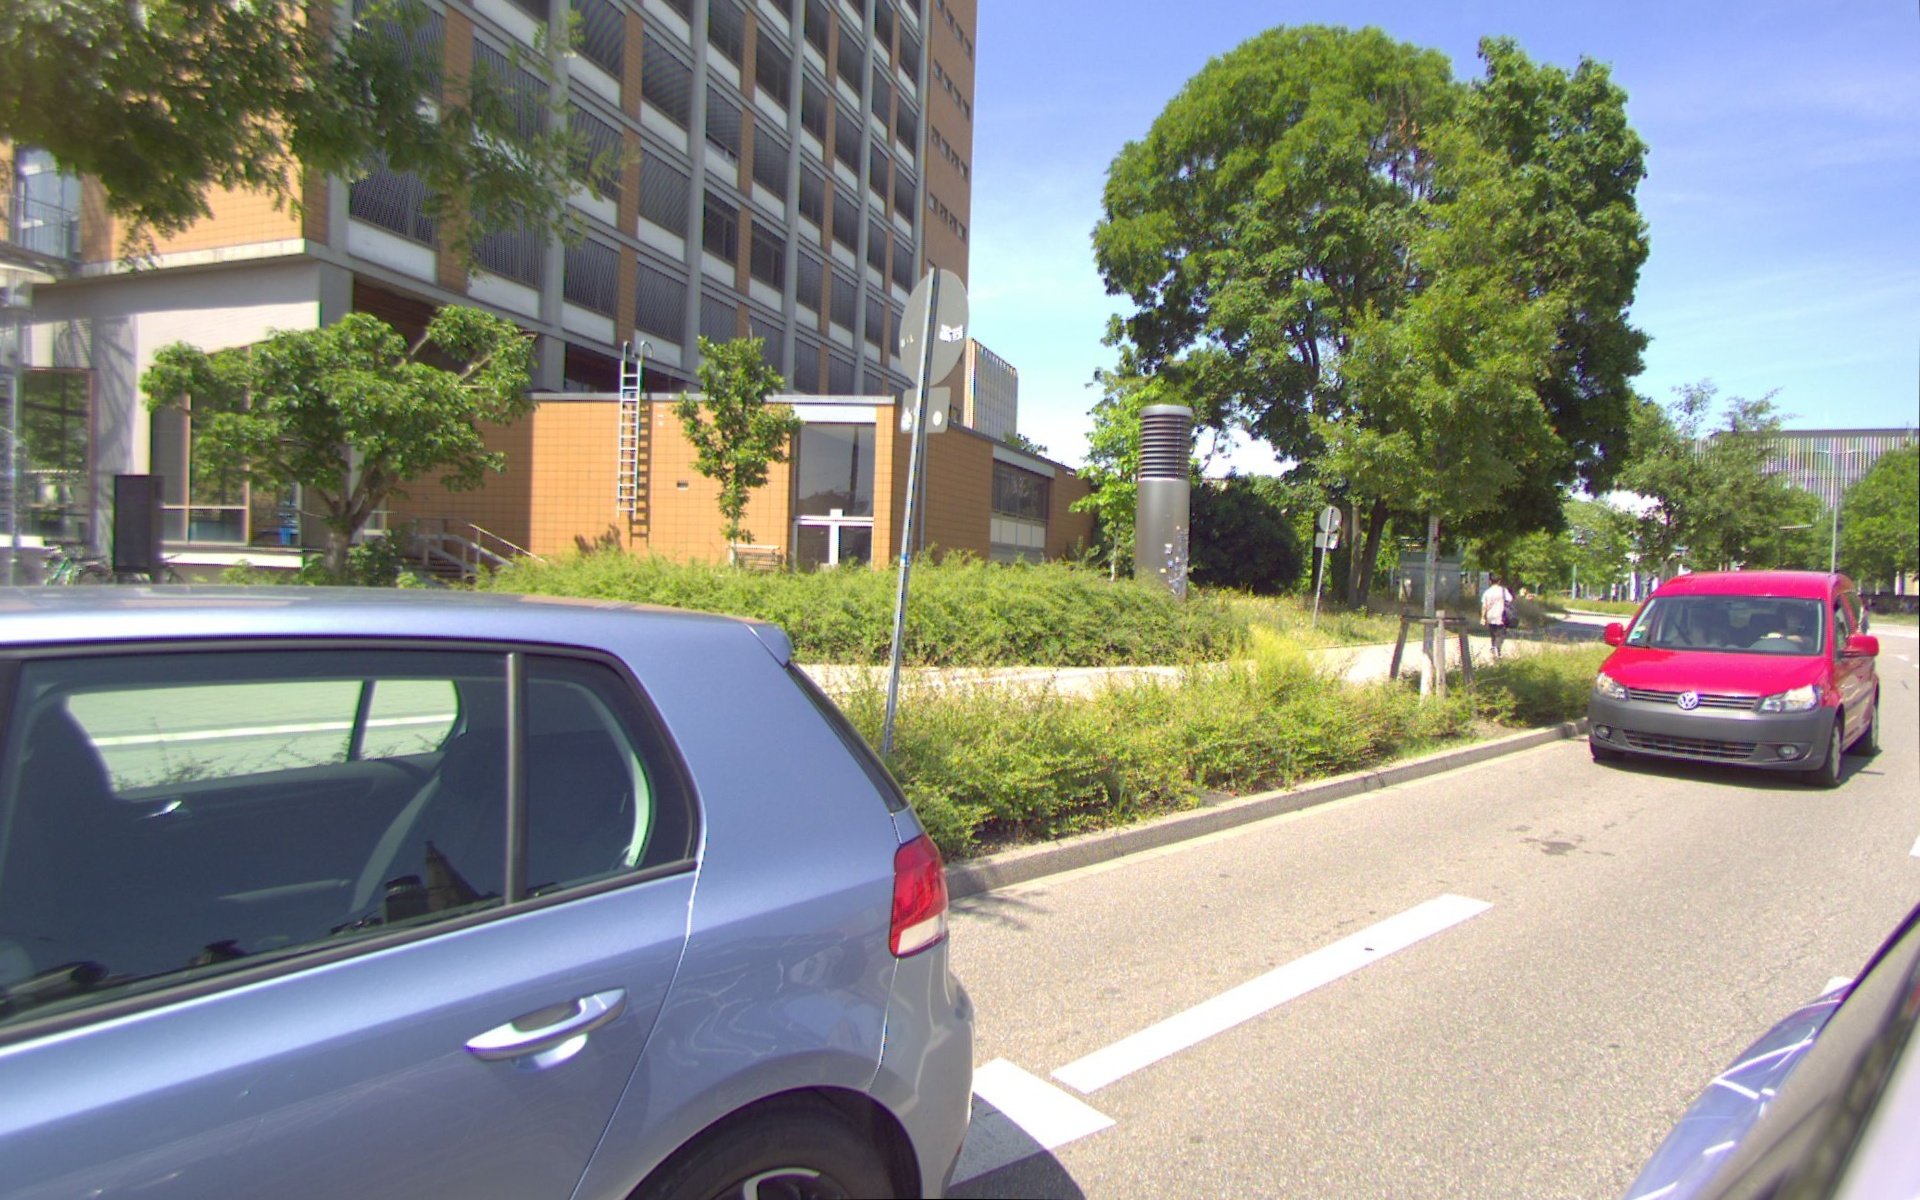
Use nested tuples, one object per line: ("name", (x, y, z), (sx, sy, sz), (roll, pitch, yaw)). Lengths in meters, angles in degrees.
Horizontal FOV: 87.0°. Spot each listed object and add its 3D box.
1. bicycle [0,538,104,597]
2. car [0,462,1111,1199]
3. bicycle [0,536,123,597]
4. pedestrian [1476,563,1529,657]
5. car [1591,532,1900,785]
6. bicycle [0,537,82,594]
("bicycle", (-20.038, -0.694, 21.964), (0.629, 1.233, 2.201), (0, 0, 22))
("car", (-1.709, 0.592, 1.449), (3.933, 1.477, 1.654), (0, 0, -41))
("bicycle", (-19.332, -0.692, 21.632), (0.629, 1.233, 2.201), (0, 0, 22))
("pedestrian", (10.857, 0.187, 20.265), (0.603, 1.820, 0.728), (1, 1, -40))
("car", (7.648, 0.426, 9.667), (4.469, 1.882, 1.653), (0, 1, -43))
("bicycle", (-20.778, -0.746, 22.255), (0.630, 1.233, 2.201), (0, 0, 22))
